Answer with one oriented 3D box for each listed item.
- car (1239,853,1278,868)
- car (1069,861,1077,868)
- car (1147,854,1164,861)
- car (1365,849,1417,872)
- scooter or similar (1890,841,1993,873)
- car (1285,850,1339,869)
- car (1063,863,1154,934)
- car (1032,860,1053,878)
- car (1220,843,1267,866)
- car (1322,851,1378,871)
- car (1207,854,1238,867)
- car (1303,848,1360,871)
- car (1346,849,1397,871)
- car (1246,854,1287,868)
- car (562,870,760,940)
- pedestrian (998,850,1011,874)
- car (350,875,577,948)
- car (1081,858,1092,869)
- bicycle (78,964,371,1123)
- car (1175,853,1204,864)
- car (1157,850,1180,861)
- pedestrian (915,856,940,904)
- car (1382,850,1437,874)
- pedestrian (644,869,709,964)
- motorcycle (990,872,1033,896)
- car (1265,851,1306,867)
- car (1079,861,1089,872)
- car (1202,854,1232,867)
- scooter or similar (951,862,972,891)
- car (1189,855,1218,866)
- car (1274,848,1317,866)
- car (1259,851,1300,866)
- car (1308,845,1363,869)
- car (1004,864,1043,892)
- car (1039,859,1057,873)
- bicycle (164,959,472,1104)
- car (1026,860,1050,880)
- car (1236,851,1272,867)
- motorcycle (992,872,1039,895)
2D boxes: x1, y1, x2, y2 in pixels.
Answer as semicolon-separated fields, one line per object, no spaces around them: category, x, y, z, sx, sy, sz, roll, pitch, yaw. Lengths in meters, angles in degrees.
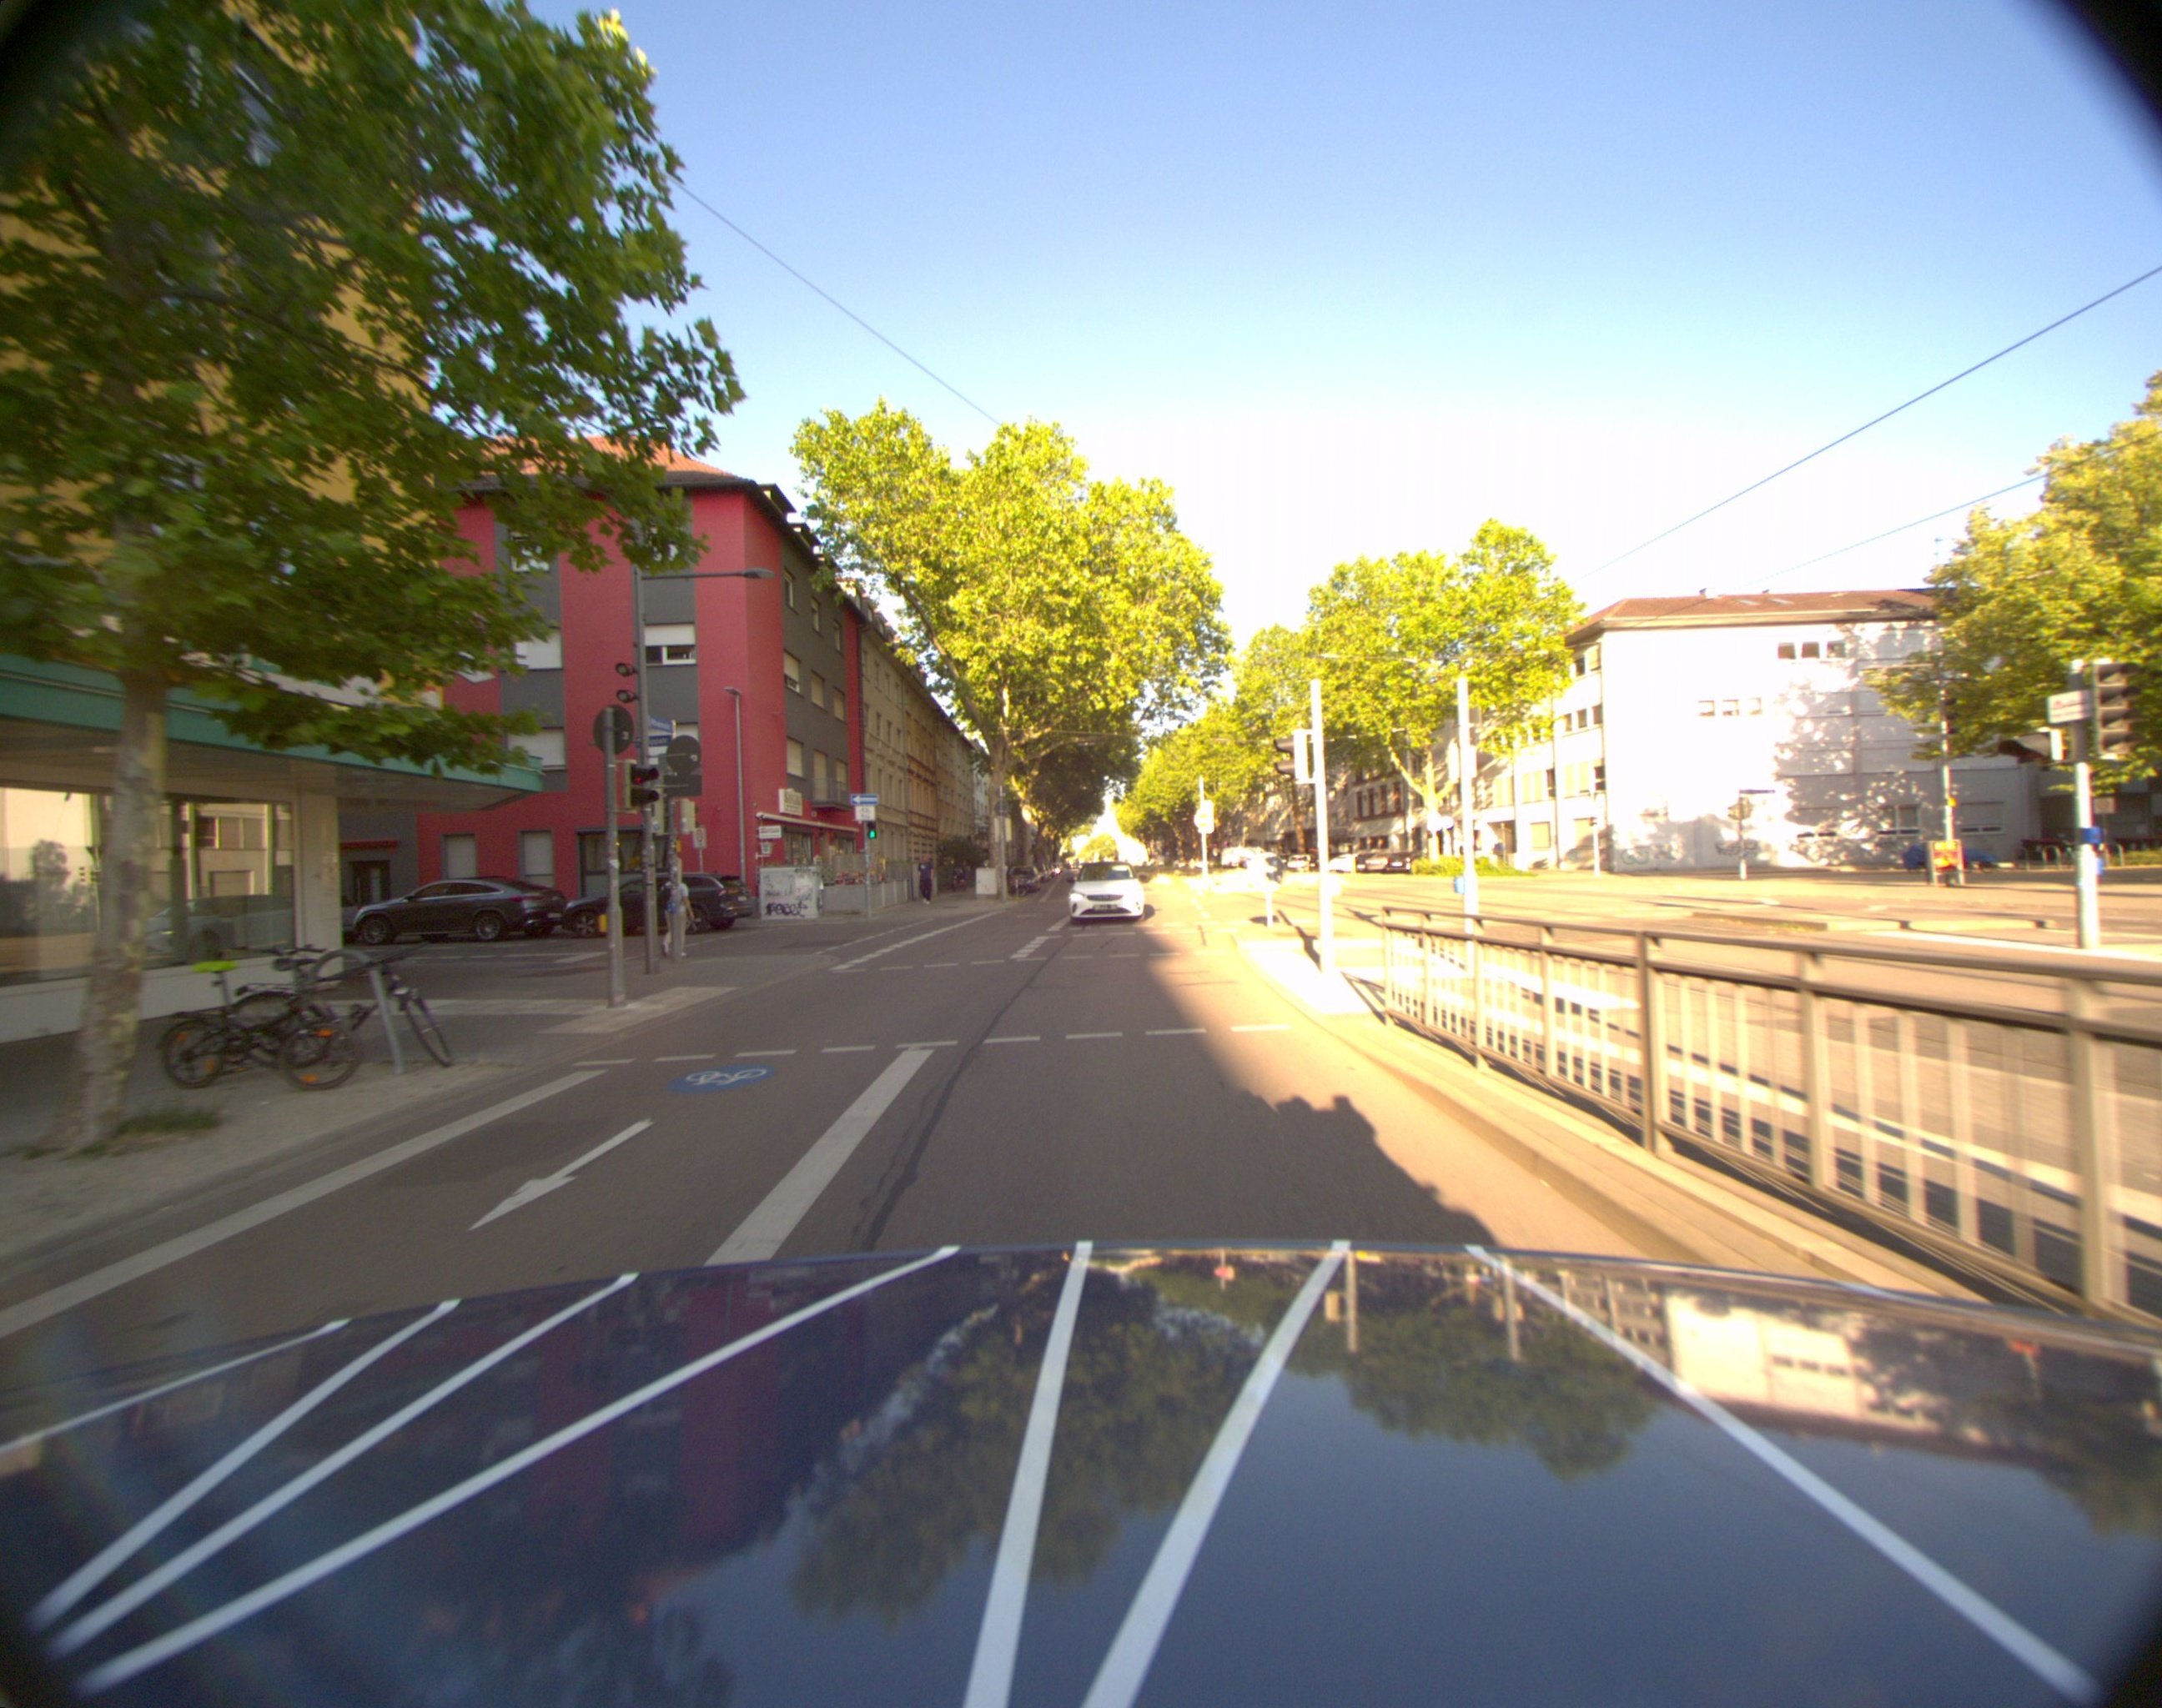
car;20.440;0.698;87.455;4.005;1.608;1.996;-2;0;-27
car;-2.362;3.085;219.843;1.998;1.850;4.001;-3;0;5
car;18.915;0.844;192.919;3.994;1.802;1.874;-2;0;9
car;21.147;0.453;51.729;3.979;1.423;1.738;-1;-1;-43
scooter or similar;32.296;0.117;28.583;1.096;1.119;2.448;-2;0;0
car;19.974;0.476;65.808;4.260;1.548;1.641;-2;0;-16
car;0.560;0.969;18.153;1.865;1.394;3.931;-3;0;-1
car;-3.538;1.414;71.212;1.803;1.599;4.369;1;0;-1
car;20.738;0.046;96.763;5.619;2.684;2.176;-2;0;-25
car;20.362;0.518;57.519;4.266;1.369;2.147;-1;0;-41
car;20.293;0.921;108.929;4.005;1.805;1.996;-2;0;-27
car;20.100;0.440;60.893;4.265;1.674;2.148;-1;0;-35
car;21.076;0.425;55.019;3.979;1.495;1.827;-1;0;-43
car;20.558;0.781;84.327;4.004;1.509;1.997;-2;0;-21
car;-11.319;1.349;20.682;4.352;1.676;1.772;-2;0;-1
pedestrian;-5.105;0.529;50.755;0.728;1.571;0.702;-2;1;0
car;-16.517;1.505;20.490;4.614;1.730;1.772;-2;0;-1
car;1.059;1.760;144.721;1.999;2.002;4.000;-3;0;0
bicycle;-6.019;1.313;5.386;1.487;1.002;0.454;0;0;-3
car;17.574;0.679;123.132;4.234;1.696;1.999;-2;0;-4
car;19.471;0.301;169.022;4.951;2.200;2.096;-1;0;-42
pedestrian;-5.597;0.926;27.662;0.728;1.701;0.816;1;1;0
car;21.037;0.487;48.549;3.979;1.423;1.768;-1;0;-43
pedestrian;-7.876;1.197;14.826;0.745;1.769;0.894;-2;1;-1
motorcycle;-3.219;1.380;35.152;1.895;1.104;0.783;2;-2;-43
car;20.710;0.516;76.854;4.265;1.451;1.599;-1;0;-36
car;0.572;2.612;157.472;1.998;2.002;4.000;-3;0;0
car;20.087;0.946;112.200;4.005;1.805;1.996;-2;0;-27
scooter or similar;-6.356;1.195;40.641;0.666;1.461;2.545;-2;0;0
car;19.426;1.050;120.527;4.005;1.696;1.996;-2;0;-27
car;20.694;0.279;73.248;4.265;1.604;1.902;-2;0;-40
car;20.915;0.471;80.133;4.265;1.449;1.903;-1;0;-36
car;21.513;0.238;64.311;4.260;1.932;1.514;-2;0;-16
car;-3.149;1.308;42.581;1.802;1.393;4.370;1;0;0
car;-3.629;1.345;84.540;1.803;1.493;4.369;1;0;-1
bicycle;-5.932;1.367;5.976;1.803;1.002;0.541;0;0;-3
car;-3.544;1.339;63.786;1.803;1.599;4.369;1;0;-1
car;21.400;0.631;94.150;4.005;1.805;1.996;-2;0;-27
motorcycle;-3.202;1.422;37.284;2.217;1.104;0.663;1;-2;-27
